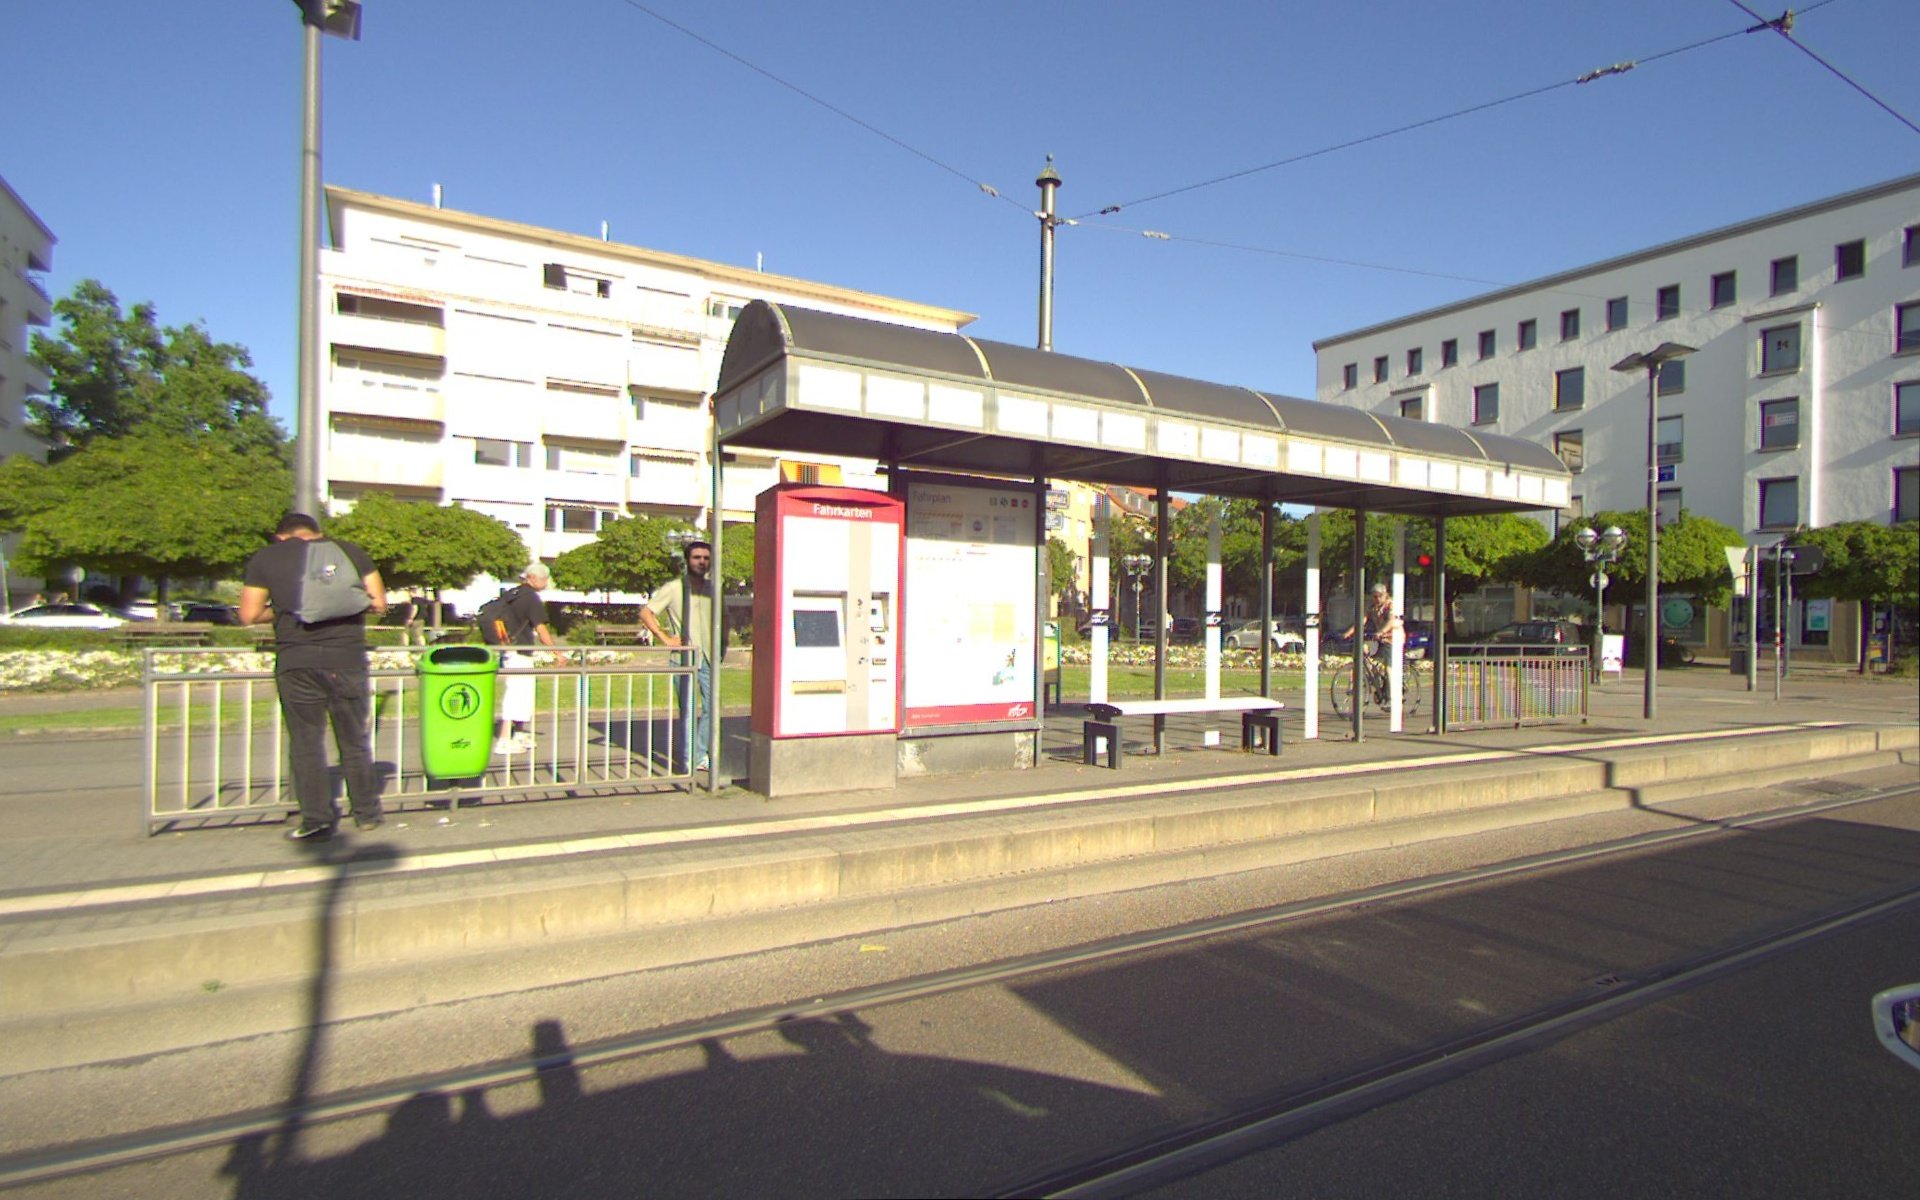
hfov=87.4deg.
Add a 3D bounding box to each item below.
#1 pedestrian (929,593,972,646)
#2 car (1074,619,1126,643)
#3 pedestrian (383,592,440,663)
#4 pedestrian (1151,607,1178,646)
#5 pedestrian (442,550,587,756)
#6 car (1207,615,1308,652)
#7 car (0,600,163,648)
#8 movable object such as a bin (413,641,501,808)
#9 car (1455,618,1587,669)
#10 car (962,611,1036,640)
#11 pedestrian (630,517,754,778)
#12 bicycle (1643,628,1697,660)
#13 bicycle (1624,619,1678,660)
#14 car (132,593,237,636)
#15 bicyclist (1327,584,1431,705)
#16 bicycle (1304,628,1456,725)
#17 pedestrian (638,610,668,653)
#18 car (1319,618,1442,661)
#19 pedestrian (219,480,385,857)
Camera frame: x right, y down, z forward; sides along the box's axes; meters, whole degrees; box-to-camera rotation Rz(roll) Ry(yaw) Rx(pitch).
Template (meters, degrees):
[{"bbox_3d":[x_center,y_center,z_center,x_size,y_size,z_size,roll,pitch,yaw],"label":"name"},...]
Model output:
[{"bbox_3d":[-0.364,0.770,39.369,1.219,2.040,1.214,1,-1,-30],"label":"pedestrian"},{"bbox_3d":[9.383,2.049,67.104,1.887,1.514,4.343,2,0,31],"label":"car"},{"bbox_3d":[-14.419,0.722,26.449,1.159,1.811,1.076,1,0,-21],"label":"pedestrian"},{"bbox_3d":[9.678,1.245,47.523,0.856,1.841,0.944,1,0,-19],"label":"pedestrian"},{"bbox_3d":[-4.002,0.472,9.003,0.965,1.702,0.987,3,-3,-35],"label":"pedestrian"},{"bbox_3d":[14.132,1.584,47.948,1.835,1.628,4.581,1,-1,-31],"label":"car"},{"bbox_3d":[-25.690,0.705,29.183,3.672,1.318,1.984,1,-1,-30],"label":"car"},{"bbox_3d":[-2.784,0.669,5.565,0.411,0.871,0.335,1,-1,-27],"label":"movable object such as a bin"},{"bbox_3d":[21.051,1.595,37.838,1.804,1.728,3.968,1,-1,-30],"label":"car"},{"bbox_3d":[1.904,1.270,49.271,3.271,1.372,1.638,1,-1,-29],"label":"car"},{"bbox_3d":[-1.970,0.346,7.378,0.760,1.797,0.613,1,-3,-28],"label":"pedestrian"},{"bbox_3d":[28.194,1.753,39.857,2.586,1.206,0.615,1,-1,-27],"label":"bicycle"},{"bbox_3d":[27.869,1.599,40.501,2.585,1.628,0.616,1,-1,-26],"label":"bicycle"},{"bbox_3d":[-28.708,0.550,37.277,2.899,1.506,1.407,1,-1,-30],"label":"car"},{"bbox_3d":[5.315,0.547,12.761,0.866,1.475,0.824,2,0,-28],"label":"bicyclist"},{"bbox_3d":[5.363,0.948,12.792,1.953,1.128,0.725,2,0,-29],"label":"bicycle"},{"bbox_3d":[-10.275,1.045,33.600,0.673,1.378,1.042,1,-1,-34],"label":"pedestrian"},{"bbox_3d":[17.849,1.637,42.827,1.978,1.684,4.581,1,-1,-31],"label":"car"},{"bbox_3d":[-3.258,0.329,5.024,0.599,1.740,0.546,1,-3,-28],"label":"pedestrian"}]
